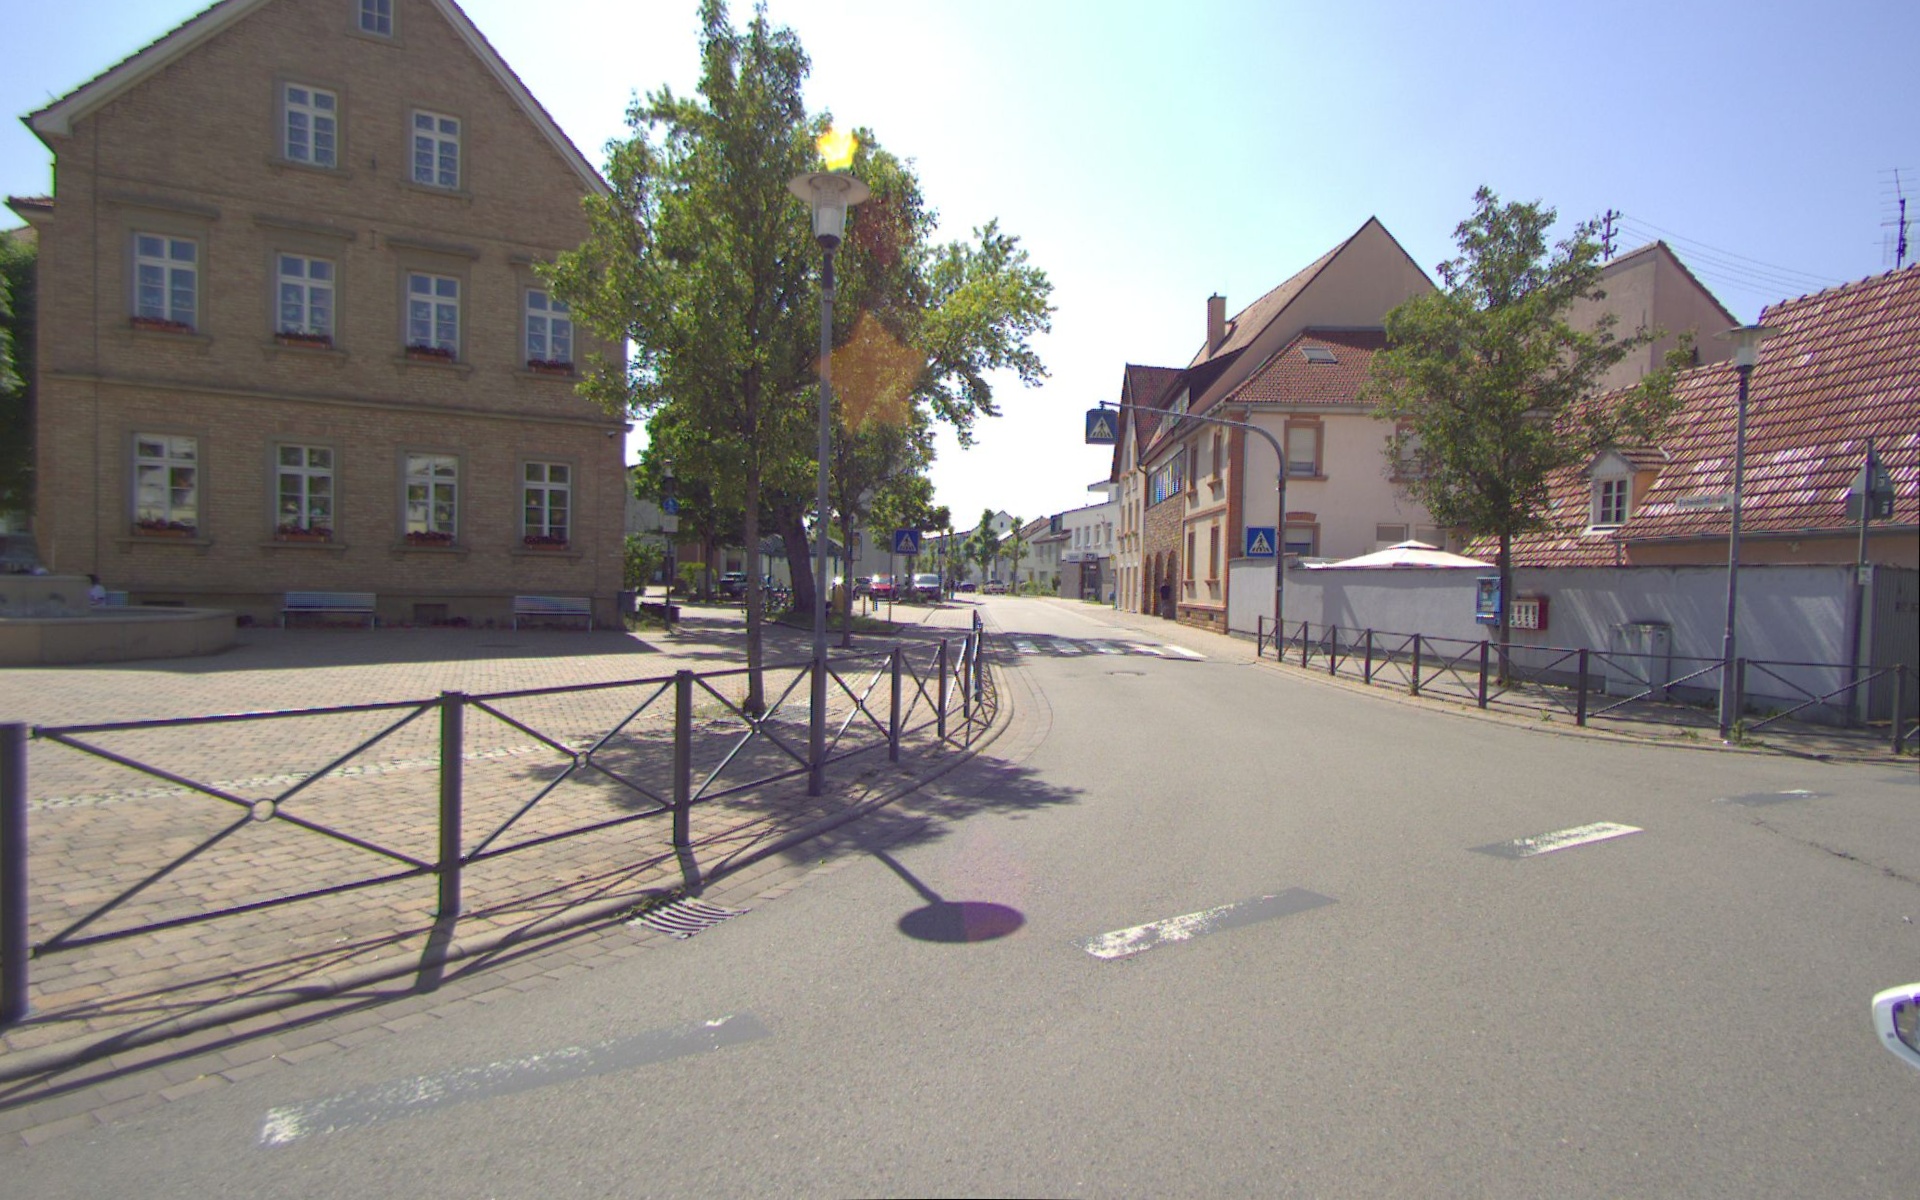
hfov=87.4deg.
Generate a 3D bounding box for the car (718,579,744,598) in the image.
[{"bbox_3d":[-14.700,-0.749,64.641,1.559,1.164,3.070,1,0,-12],"label":"car"}]

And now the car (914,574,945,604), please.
[{"bbox_3d":[-1.936,-0.746,65.402,1.746,1.818,4.000,2,1,1],"label":"car"}]

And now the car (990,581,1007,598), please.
[{"bbox_3d":[4.365,-1.196,113.622,1.746,1.804,4.000,1,0,0],"label":"car"}]

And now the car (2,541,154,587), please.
[{"bbox_3d":[-42.373,-1.687,48.437,5.219,1.963,1.983,1,0,-32],"label":"car"}]

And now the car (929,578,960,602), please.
[{"bbox_3d":[-1.192,-0.743,73.864,1.749,1.667,3.994,1,0,-9],"label":"car"}]

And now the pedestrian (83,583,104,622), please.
[{"bbox_3d":[-16.633,0.052,19.286,0.287,0.742,0.353,1,1,-43],"label":"pedestrian"}]

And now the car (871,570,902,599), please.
[{"bbox_3d":[-4.756,-0.996,65.564,1.746,1.818,4.000,1,0,0],"label":"car"}]

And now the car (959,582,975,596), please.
[{"bbox_3d":[0.863,-1.367,127.127,1.748,1.714,3.997,1,0,-5],"label":"car"}]

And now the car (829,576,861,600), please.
[{"bbox_3d":[-7.381,-0.752,64.958,1.618,1.488,3.779,1,0,0],"label":"car"}]
